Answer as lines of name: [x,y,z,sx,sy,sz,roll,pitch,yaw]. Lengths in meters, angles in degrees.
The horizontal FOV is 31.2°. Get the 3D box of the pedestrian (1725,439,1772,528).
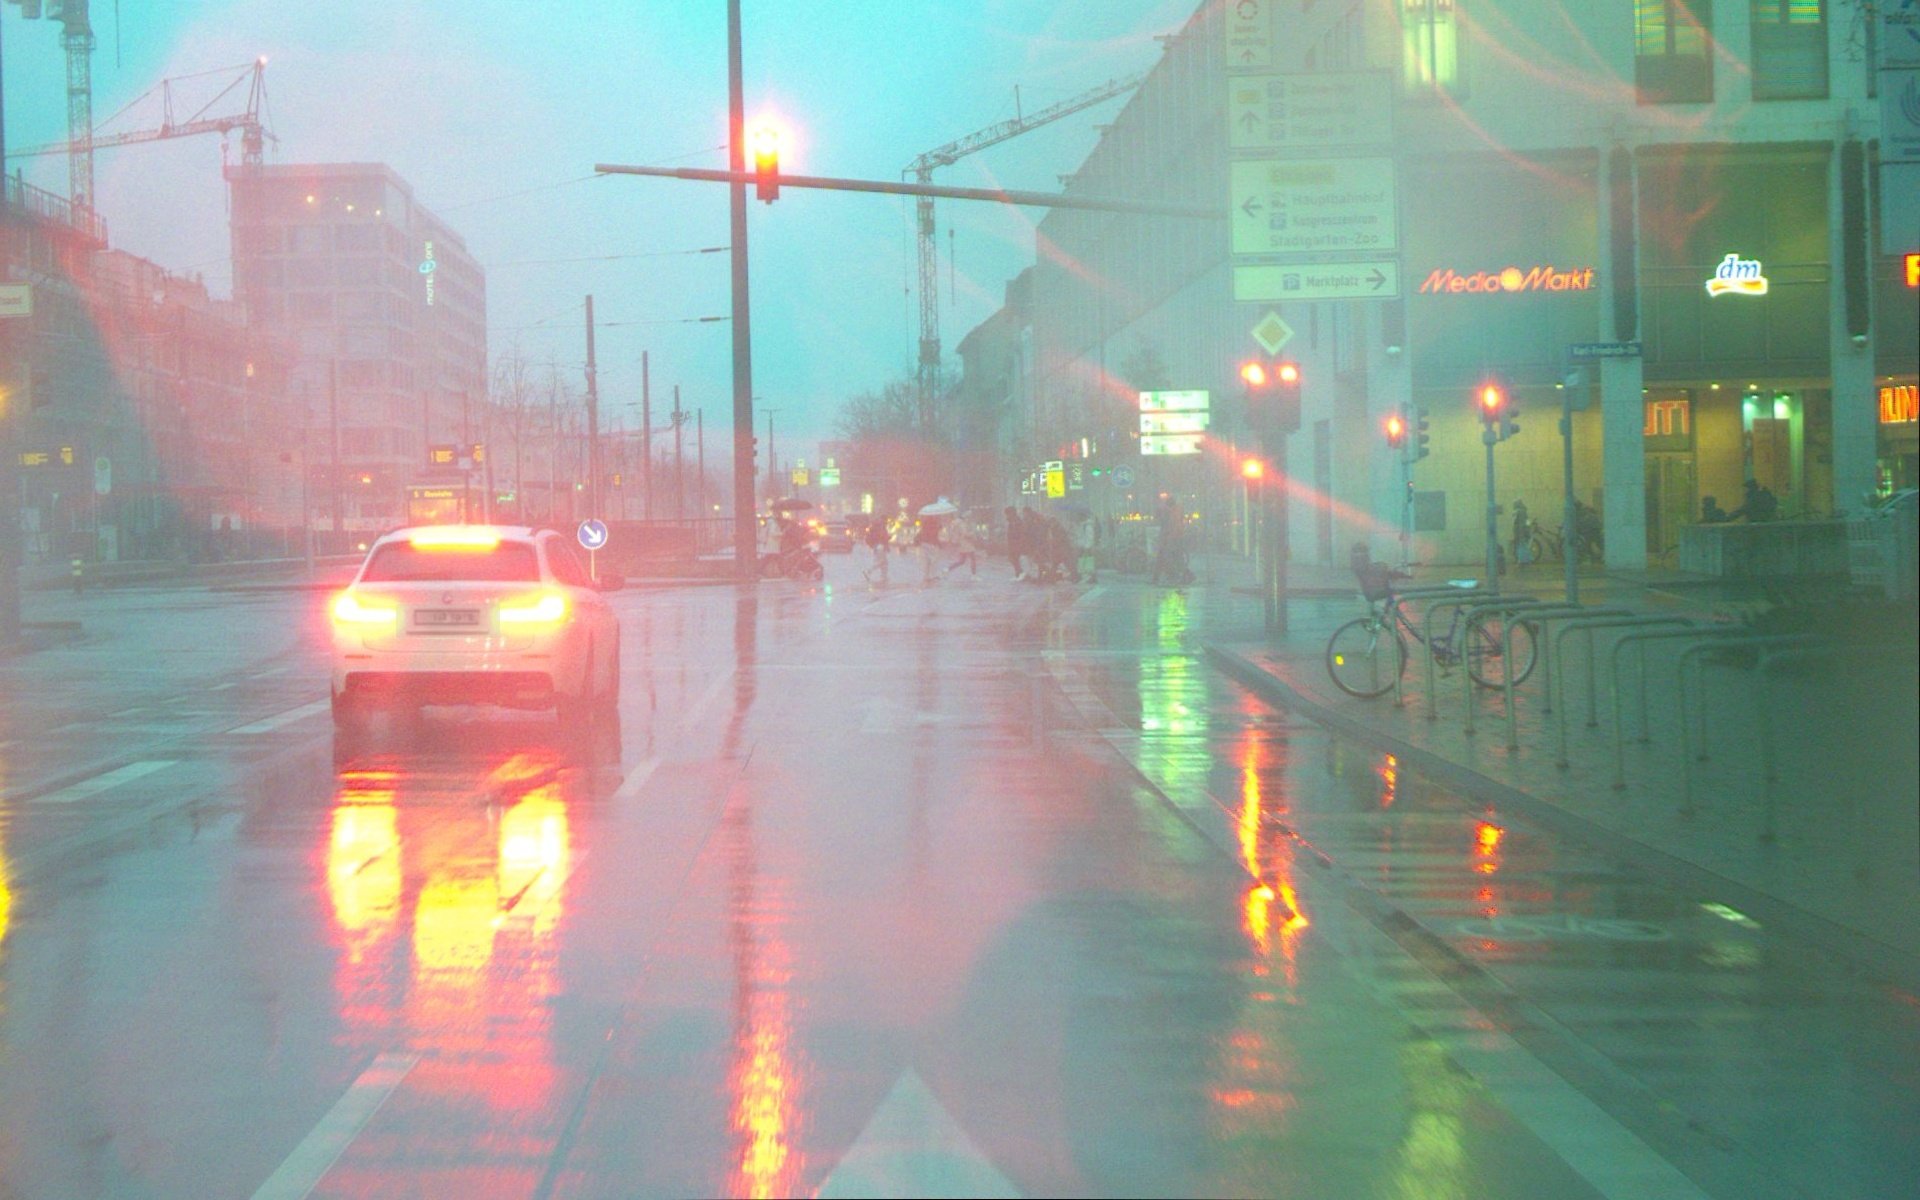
pedestrian: [14.275,-2.103,62.253,0.781,1.590,0.612,-1,1,16]

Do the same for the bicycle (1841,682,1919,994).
bicycle: [3.933,0.743,11.473,1.787,0.970,0.618,-3,1,-4]

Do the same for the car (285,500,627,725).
car: [-3.715,0.026,26.194,1.909,1.515,4.924,-1,1,-1]

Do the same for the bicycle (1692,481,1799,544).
bicycle: [14.232,-1.585,62.300,1.846,1.089,0.617,-1,1,16]

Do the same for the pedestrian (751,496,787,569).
pedestrian: [-4.344,-1.536,78.175,0.741,1.661,0.400,-1,1,-6]

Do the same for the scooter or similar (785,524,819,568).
scooter or similar: [-3.595,-1.234,78.253,0.741,0.990,0.400,-1,1,-6]

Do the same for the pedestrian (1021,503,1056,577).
pedestrian: [1.707,-1.311,75.028,0.706,1.613,0.613,-1,1,-2]

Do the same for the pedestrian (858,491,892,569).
pedestrian: [-1.935,-1.591,78.372,0.702,1.754,0.667,-1,1,1]

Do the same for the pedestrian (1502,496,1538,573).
pedestrian: [12.893,-1.507,79.147,0.703,1.754,0.652,-1,1,1]

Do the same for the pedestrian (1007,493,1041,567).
pedestrian: [1.426,-1.566,76.628,0.706,1.613,0.680,-1,1,2]

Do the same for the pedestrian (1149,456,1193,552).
pedestrian: [4.613,-2.087,75.049,0.686,2.080,0.613,-2,2,-39]

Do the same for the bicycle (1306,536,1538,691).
bicycle: [3.713,0.105,27.664,1.750,1.144,0.436,-3,1,-4]
